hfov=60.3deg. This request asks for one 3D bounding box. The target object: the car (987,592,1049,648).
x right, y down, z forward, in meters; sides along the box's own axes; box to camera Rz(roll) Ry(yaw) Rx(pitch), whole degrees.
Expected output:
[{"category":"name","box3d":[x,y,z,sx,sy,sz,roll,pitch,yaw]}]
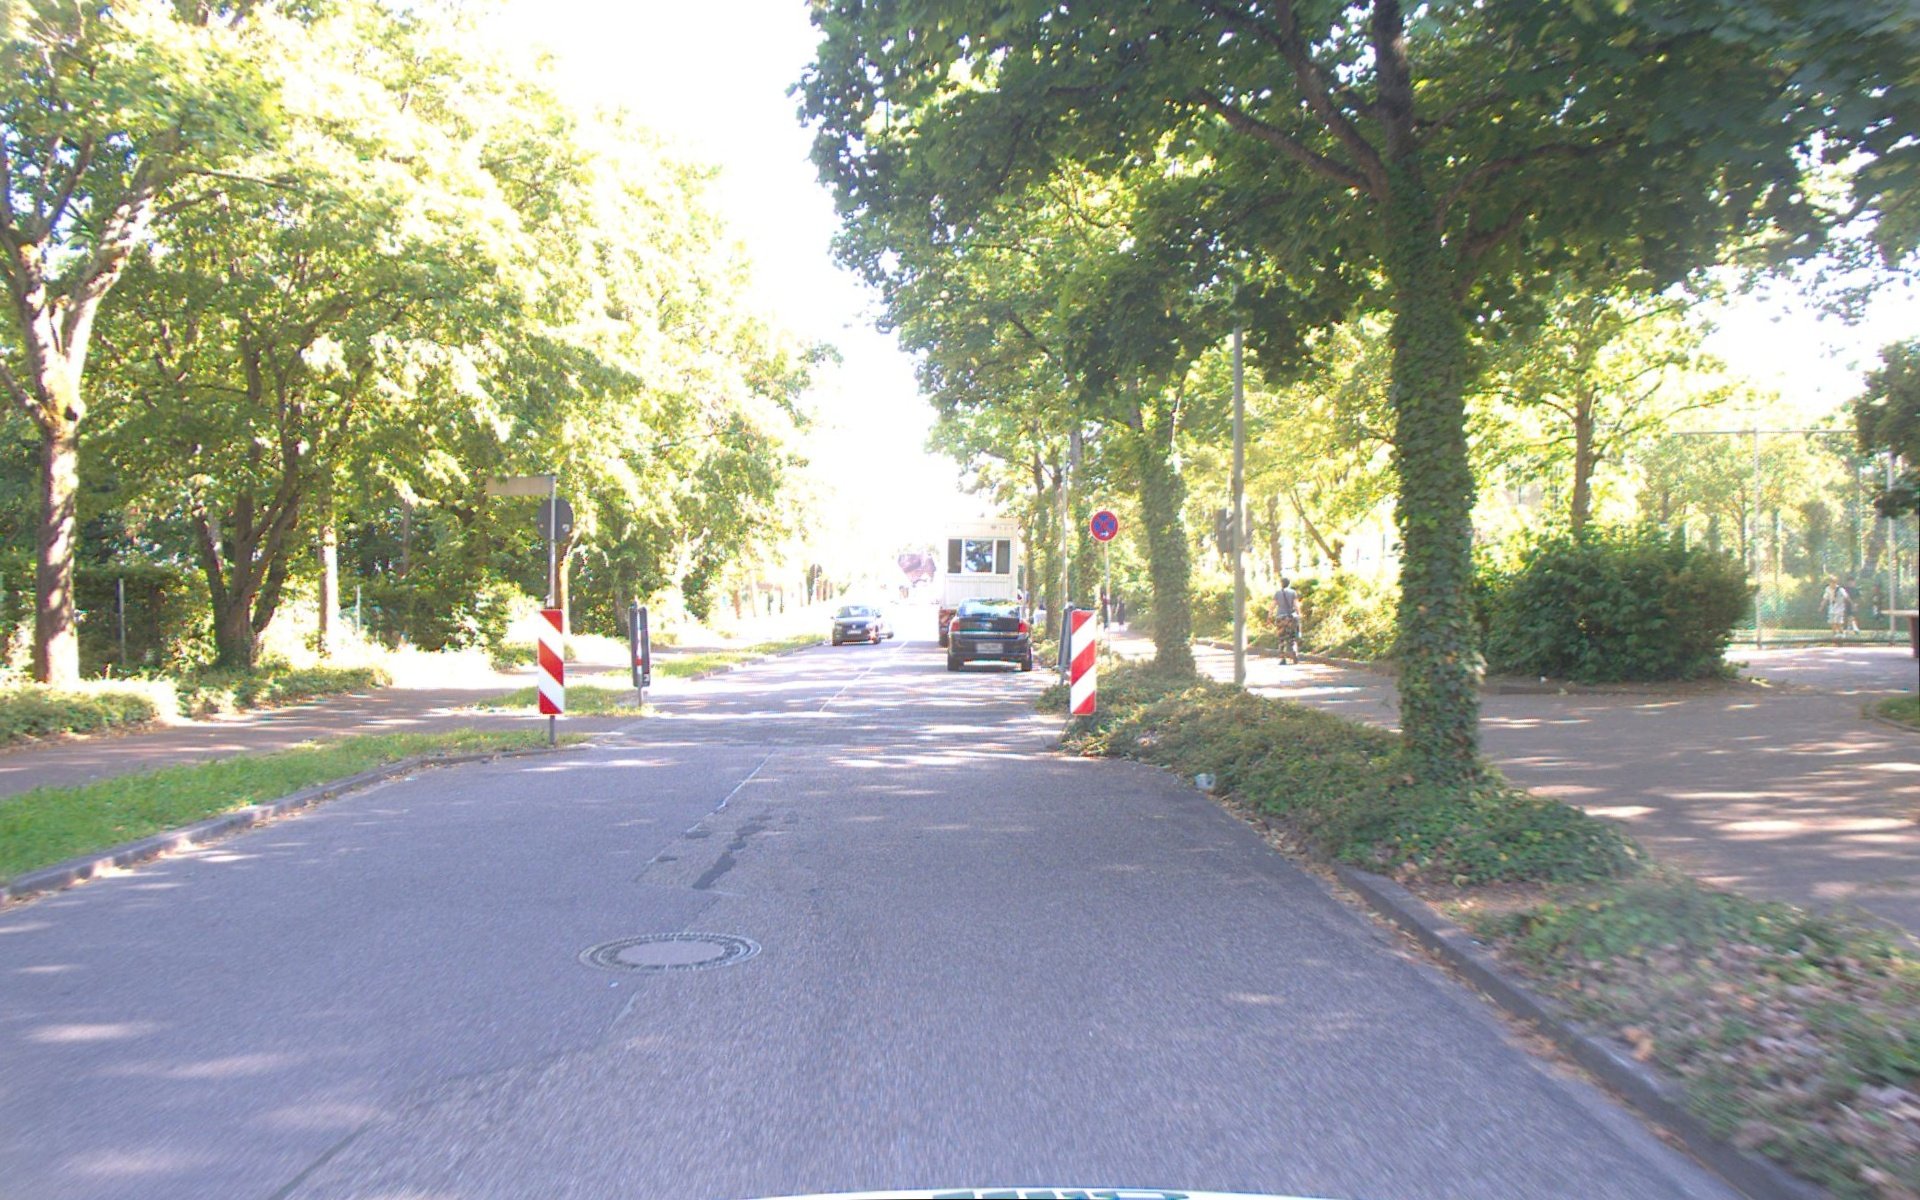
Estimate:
[{"category":"car","box3d":[1.632,0.532,46.611,1.606,1.445,4.001,-2,0,2]}]

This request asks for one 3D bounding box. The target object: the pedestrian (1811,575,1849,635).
[{"category":"pedestrian","box3d":[17.757,0.101,33.765,0.555,1.192,0.491,1,-1,45]}]

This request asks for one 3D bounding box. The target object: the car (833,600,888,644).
[{"category":"car","box3d":[-3.518,0.764,59.153,1.567,1.451,3.653,-2,0,2]}]

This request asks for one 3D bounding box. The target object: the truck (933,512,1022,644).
[{"category":"truck","box3d":[0.477,-0.696,56.550,2.716,4.066,10.346,1,0,-1]}]

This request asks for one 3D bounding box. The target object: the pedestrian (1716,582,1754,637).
[{"category":"pedestrian","box3d":[17.140,0.214,36.568,0.486,1.192,0.560,2,0,-24]}]

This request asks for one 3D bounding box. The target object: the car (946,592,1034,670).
[{"category":"car","box3d":[0.647,0.630,34.419,1.712,1.506,4.031,0,-1,2]}]

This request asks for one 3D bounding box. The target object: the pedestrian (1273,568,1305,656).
[{"category":"pedestrian","box3d":[6.197,0.227,31.135,0.559,1.636,0.672,0,0,9]}]

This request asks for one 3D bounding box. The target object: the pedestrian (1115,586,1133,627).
[{"category":"pedestrian","box3d":[7.455,0.289,75.324,0.684,1.844,0.700,-2,0,-3]}]

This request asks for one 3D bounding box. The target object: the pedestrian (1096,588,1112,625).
[{"category":"pedestrian","box3d":[6.590,0.295,75.658,0.586,1.639,0.600,-2,0,-3]}]

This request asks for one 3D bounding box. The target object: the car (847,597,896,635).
[{"category":"car","box3d":[-3.687,0.648,69.495,1.719,1.479,4.243,-2,0,1]}]

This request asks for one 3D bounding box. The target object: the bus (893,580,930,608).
[{"category":"bus","box3d":[-6.130,-0.794,211.525,3.981,3.407,9.803,-2,0,2]}]
